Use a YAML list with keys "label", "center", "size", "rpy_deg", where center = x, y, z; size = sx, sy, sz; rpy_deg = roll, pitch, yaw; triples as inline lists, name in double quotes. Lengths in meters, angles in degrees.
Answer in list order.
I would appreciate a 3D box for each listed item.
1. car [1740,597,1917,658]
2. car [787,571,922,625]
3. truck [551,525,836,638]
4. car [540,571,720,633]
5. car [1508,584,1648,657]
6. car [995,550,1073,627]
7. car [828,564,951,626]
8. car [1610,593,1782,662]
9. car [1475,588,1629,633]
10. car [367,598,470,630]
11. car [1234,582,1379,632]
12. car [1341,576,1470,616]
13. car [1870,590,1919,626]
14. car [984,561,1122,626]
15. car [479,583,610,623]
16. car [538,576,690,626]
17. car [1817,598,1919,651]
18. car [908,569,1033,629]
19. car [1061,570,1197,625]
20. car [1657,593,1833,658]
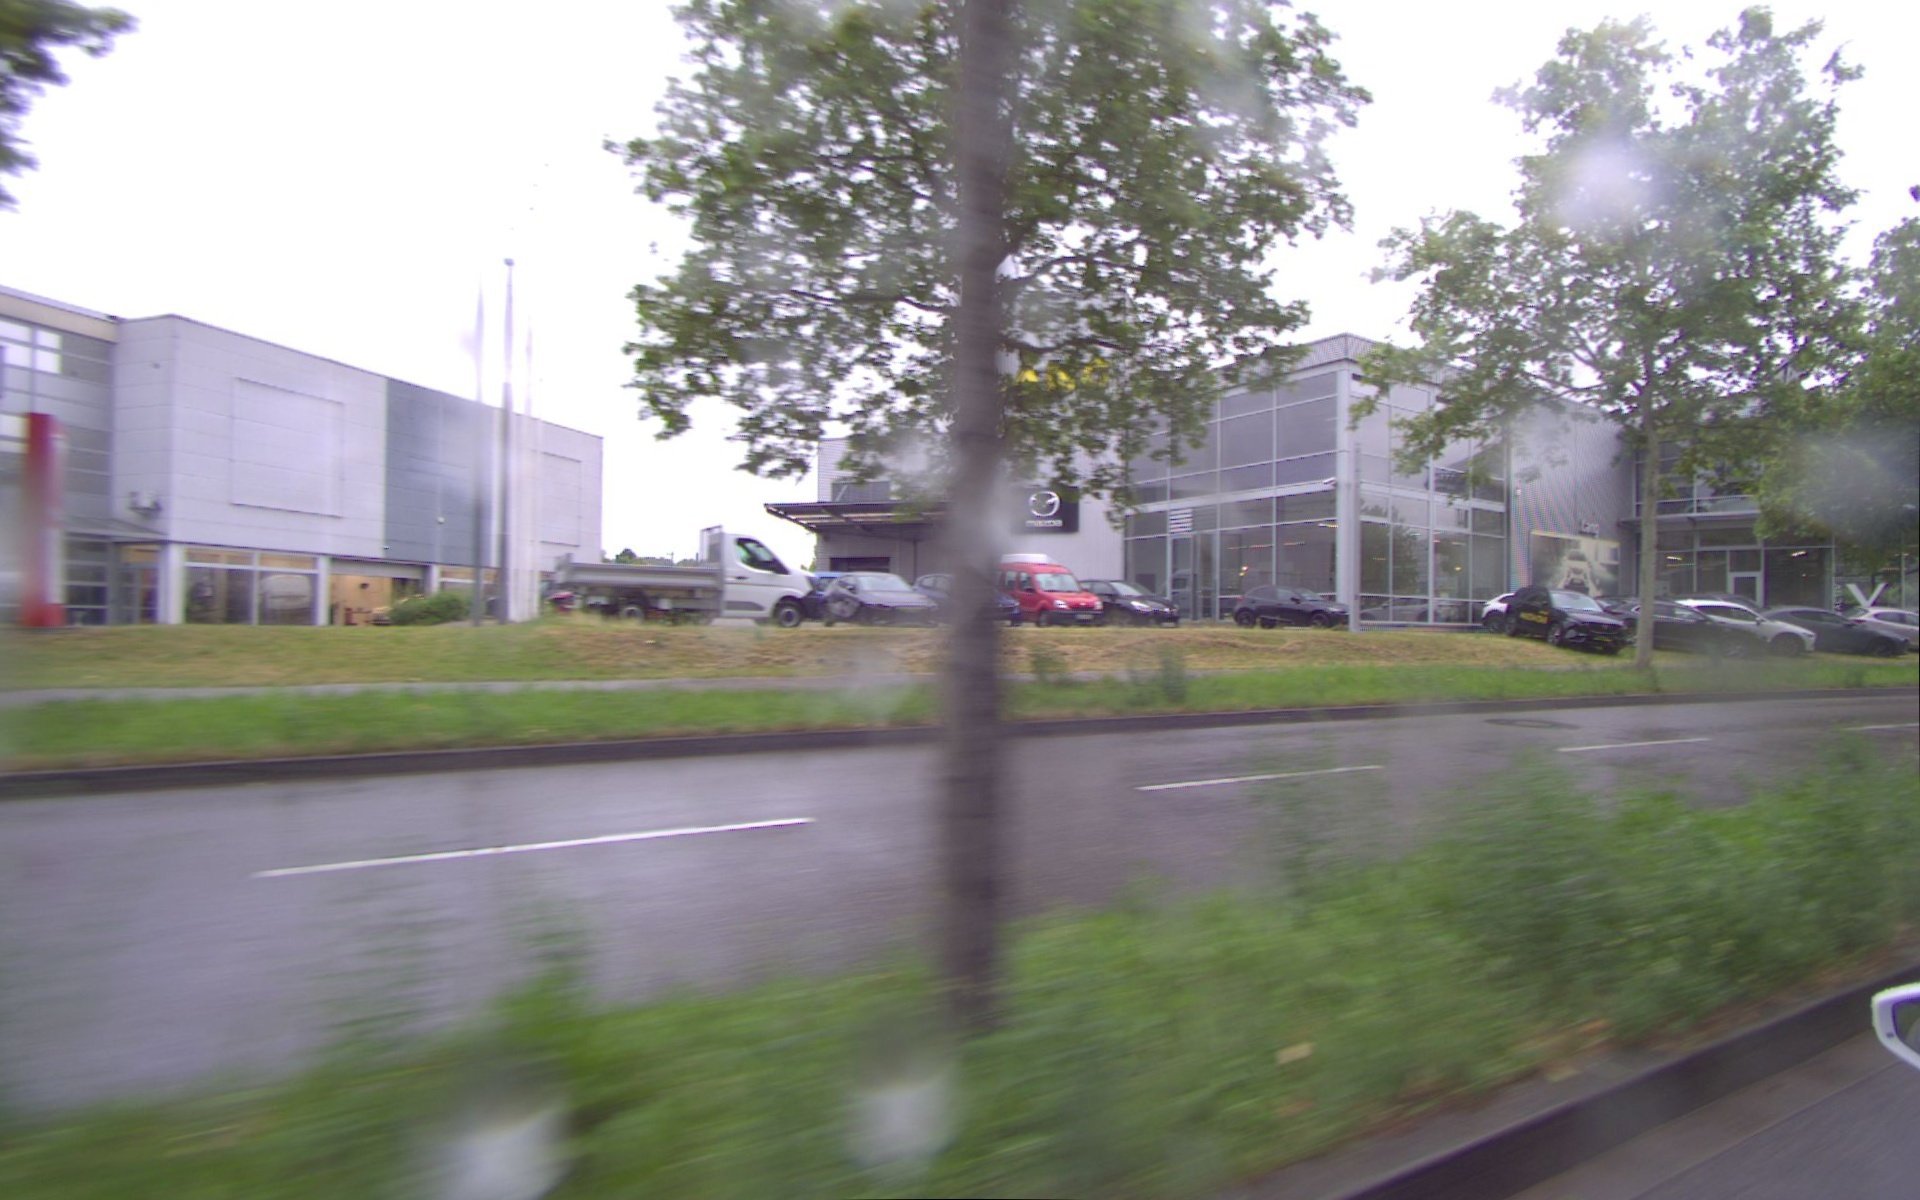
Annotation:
- label: "car"
  center: [29.293, 0.886, 34.056]
  size: [4.053, 1.442, 1.844]
  rpy_deg: [7, 7, 26]
- label: "car"
  center: [-3.838, -0.084, 36.885]
  size: [4.559, 1.788, 1.821]
  rpy_deg: [2, 1, 11]
- label: "truck"
  center: [-6.156, -0.447, 23.425]
  size: [6.115, 2.376, 2.237]
  rpy_deg: [0, 3, -28]
- label: "car"
  center: [-8.503, 0.014, 25.998]
  size: [4.114, 1.487, 1.751]
  rpy_deg: [-1, 1, -35]
- label: "car"
  center: [18.942, 0.543, 31.051]
  size: [1.810, 1.578, 4.436]
  rpy_deg: [4, 7, 6]
- label: "car"
  center: [2.980, -0.444, 39.346]
  size: [2.127, 2.789, 5.341]
  rpy_deg: [2, 1, 13]
- label: "car"
  center: [-1.796, -0.165, 24.669]
  size: [1.746, 1.344, 3.508]
  rpy_deg: [0, 3, -28]
- label: "car"
  center: [22.940, 0.804, 31.524]
  size: [4.057, 1.499, 1.843]
  rpy_deg: [7, 8, 31]
- label: "car"
  center: [21.032, 0.370, 35.856]
  size: [1.897, 1.493, 4.400]
  rpy_deg: [1, 0, -30]
- label: "car"
  center: [-25.657, 0.670, 47.783]
  size: [1.826, 1.415, 4.157]
  rpy_deg: [1, -1, 19]
- label: "car"
  center: [11.025, 0.176, 32.120]
  size: [3.953, 1.376, 1.836]
  rpy_deg: [3, 3, 44]
- label: "car"
  center: [17.815, -0.153, 40.375]
  size: [1.902, 1.493, 4.390]
  rpy_deg: [1, 0, -37]
- label: "car"
  center: [41.765, 0.378, 42.845]
  size: [4.029, 1.495, 1.786]
  rpy_deg: [1, 0, 9]
- label: "car"
  center: [2.417, -0.228, 27.121]
  size: [1.824, 1.578, 3.979]
  rpy_deg: [0, 3, -28]
- label: "car"
  center: [-15.239, 0.096, 37.019]
  size: [4.075, 1.416, 1.768]
  rpy_deg: [0, 1, -1]
- label: "car"
  center: [-10.546, -0.004, 30.712]
  size: [4.114, 1.415, 1.751]
  rpy_deg: [-1, 1, -35]
- label: "car"
  center: [33.263, 0.934, 35.554]
  size: [3.921, 1.496, 1.784]
  rpy_deg: [5, 7, 18]
- label: "car"
  center: [0.187, -0.072, 25.765]
  size: [1.746, 1.344, 3.508]
  rpy_deg: [0, 3, -28]
- label: "car"
  center: [4.756, -0.118, 28.837]
  size: [1.824, 1.376, 3.979]
  rpy_deg: [0, 3, -28]
- label: "car"
  center: [25.532, 0.791, 32.853]
  size: [4.051, 1.499, 1.846]
  rpy_deg: [6, 7, 23]
